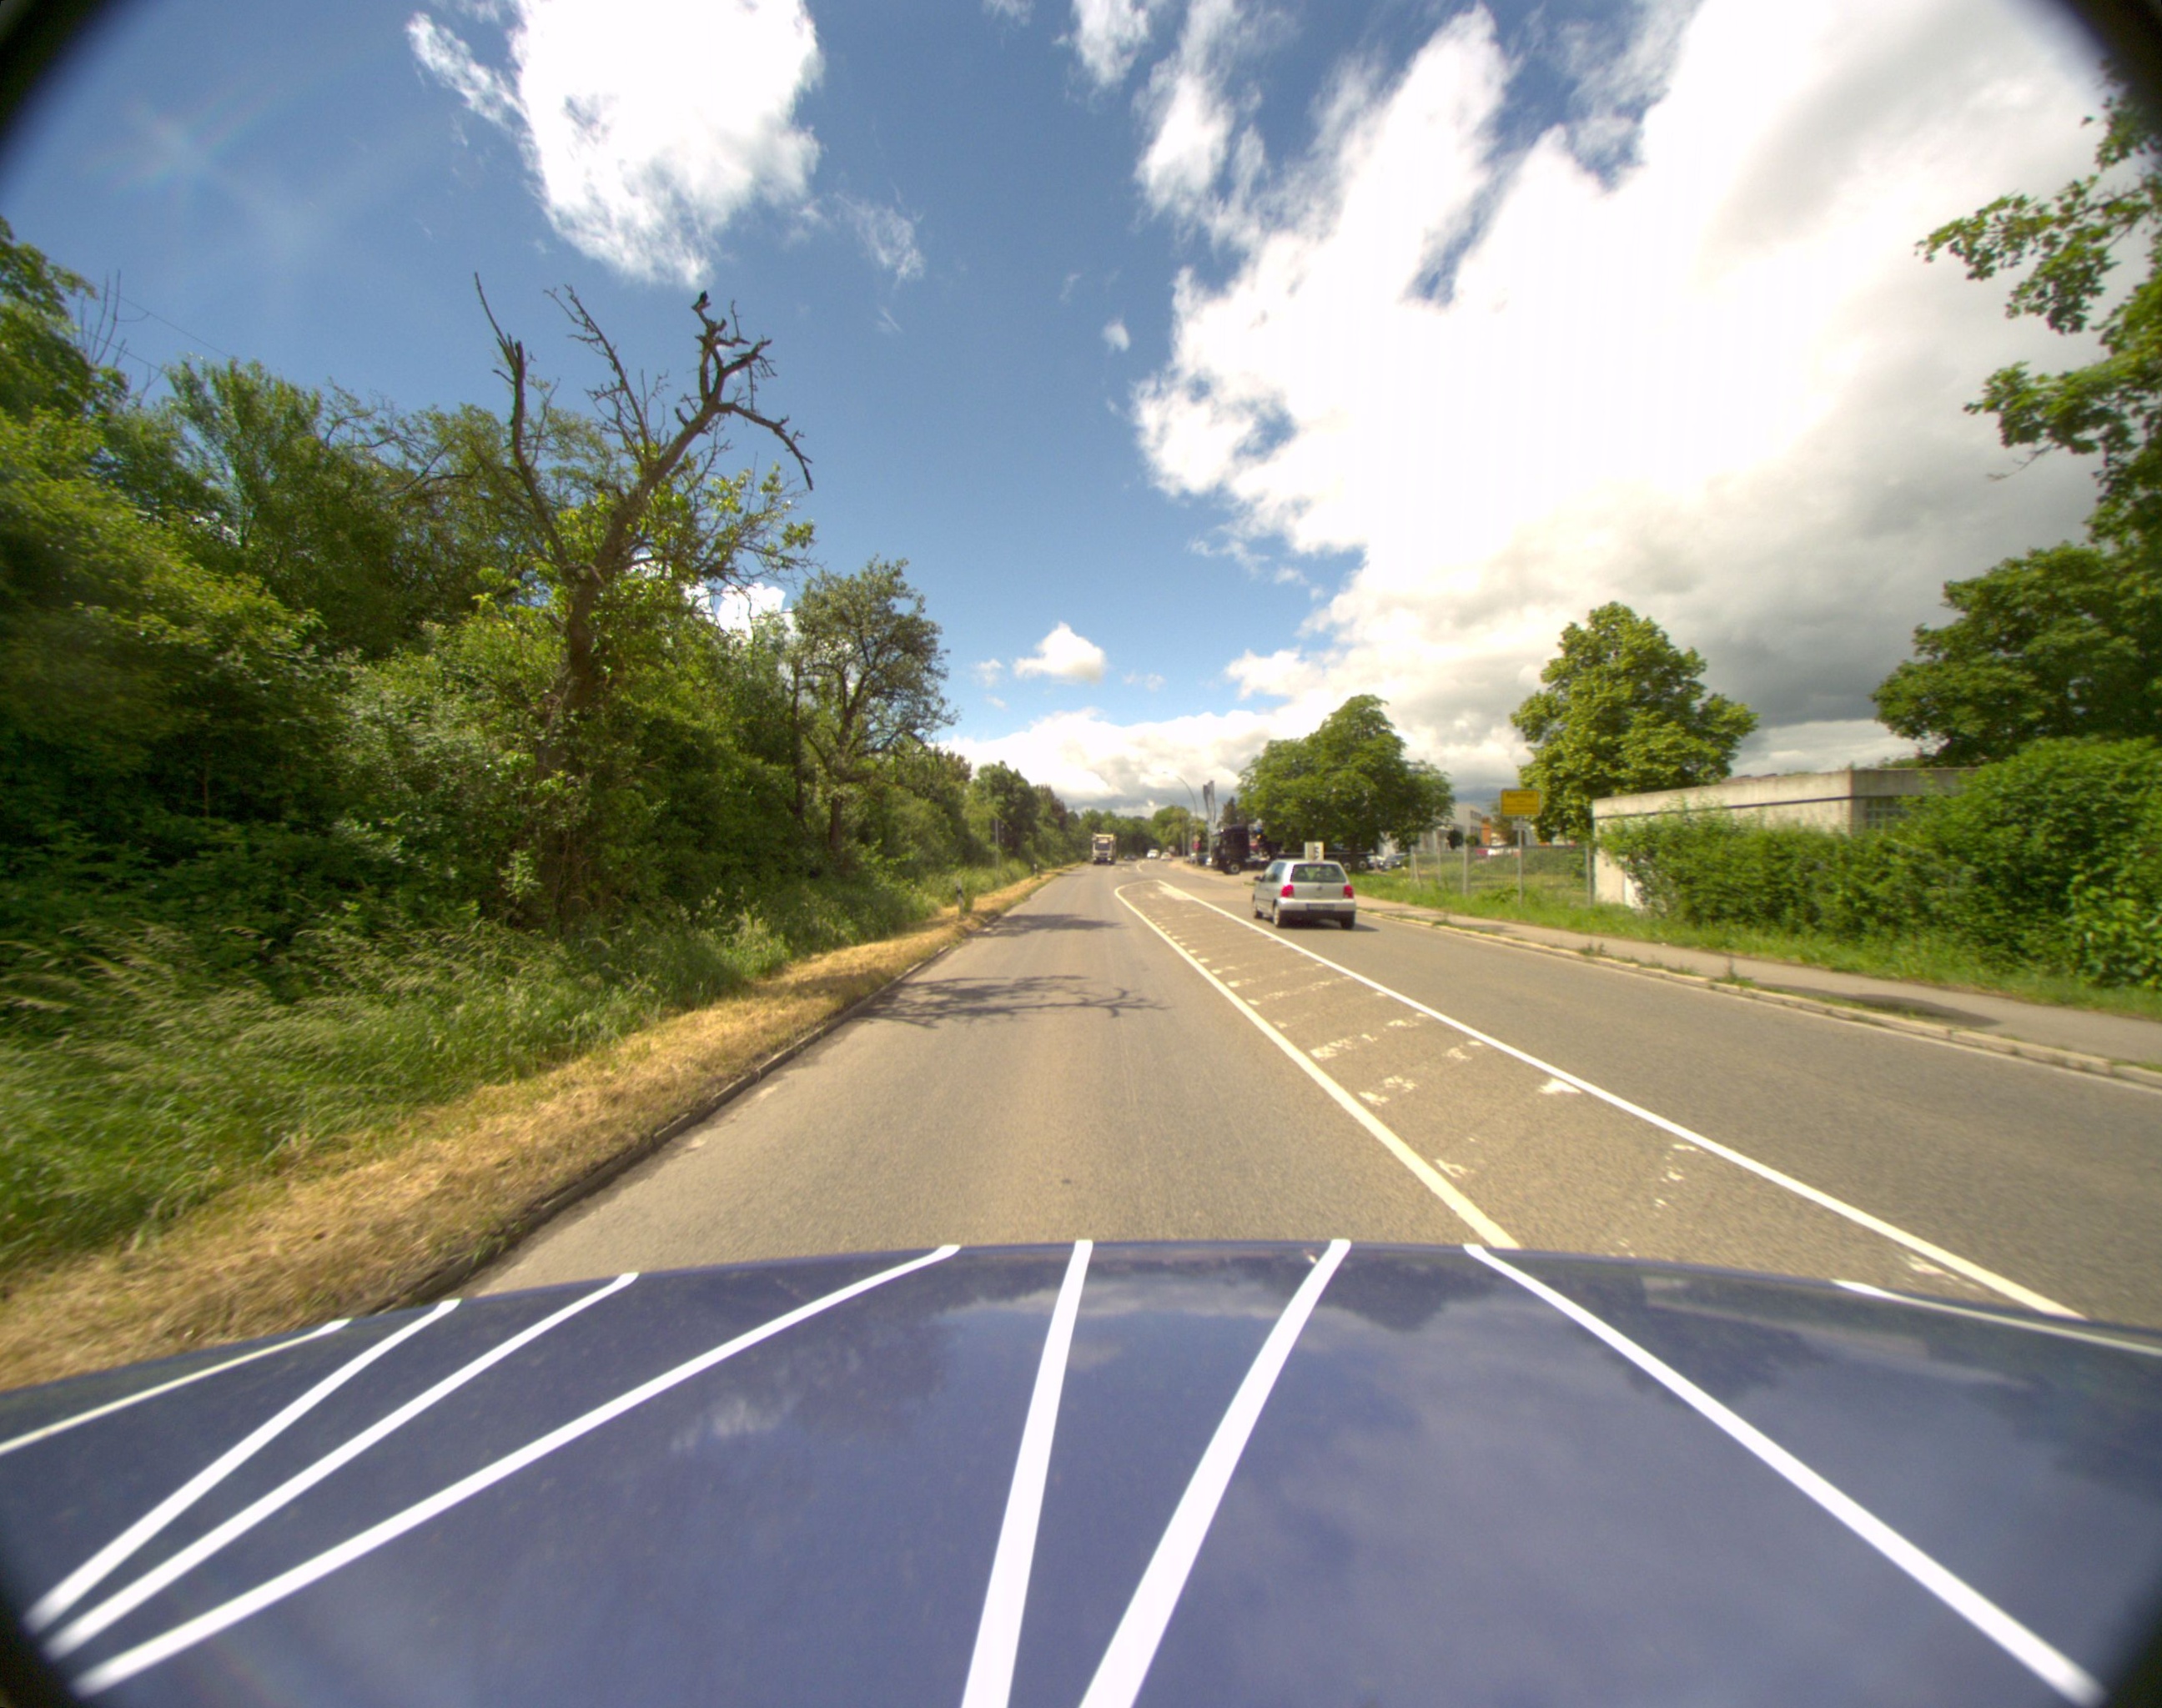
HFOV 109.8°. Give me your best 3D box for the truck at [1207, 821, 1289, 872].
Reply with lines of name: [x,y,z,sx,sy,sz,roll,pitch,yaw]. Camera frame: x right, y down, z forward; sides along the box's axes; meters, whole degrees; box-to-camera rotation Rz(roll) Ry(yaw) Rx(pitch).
truck: [12.739,-0.564,58.335,5.569,3.802,2.983,0,1,-3]

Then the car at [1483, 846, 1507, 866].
car: [40.043,0.152,73.393,1.828,1.835,4.683,0,1,31]

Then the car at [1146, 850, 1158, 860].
car: [14.784,0.159,158.327,1.952,2.002,4.004,0,1,13]

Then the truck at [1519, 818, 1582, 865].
truck: [32.424,-0.811,52.729,2.658,3.031,8.605,0,0,25]

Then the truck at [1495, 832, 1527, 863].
truck: [49.373,-0.757,87.121,2.440,3.403,7.837,0,1,35]

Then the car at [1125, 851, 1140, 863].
car: [8.984,0.555,132.393,1.952,2.002,4.003,0,1,12]

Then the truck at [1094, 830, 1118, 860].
truck: [3.228,-1.154,97.354,2.904,3.746,9.634,0,1,2]

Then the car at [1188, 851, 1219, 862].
car: [17.419,0.339,108.175,3.943,1.485,1.808,1,1,45]

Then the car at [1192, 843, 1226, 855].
car: [20.184,-0.801,120.043,4.944,1.827,1.897,0,0,42]

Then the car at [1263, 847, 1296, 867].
car: [17.321,0.242,66.469,1.935,1.711,4.601,0,0,3]

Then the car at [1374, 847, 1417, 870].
car: [26.173,0.322,63.124,1.952,1.865,4.126,0,1,43]

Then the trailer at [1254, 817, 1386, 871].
trailer: [18.613,-0.766,59.321,9.471,4.060,3.315,0,1,-14]

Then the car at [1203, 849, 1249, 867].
car: [14.658,0.387,76.615,4.305,1.668,1.932,-1,1,-28]

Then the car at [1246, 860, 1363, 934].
car: [4.820,0.866,16.896,1.664,1.423,3.693,1,0,3]

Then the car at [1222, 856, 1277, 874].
car: [15.511,0.987,70.018,4.749,1.596,1.983,0,2,-26]

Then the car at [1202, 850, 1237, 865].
car: [15.845,0.368,86.957,1.889,1.659,4.580,-2,0,40]

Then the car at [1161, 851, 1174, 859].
car: [16.198,0.159,141.899,1.996,1.442,4.430,1,1,12]
